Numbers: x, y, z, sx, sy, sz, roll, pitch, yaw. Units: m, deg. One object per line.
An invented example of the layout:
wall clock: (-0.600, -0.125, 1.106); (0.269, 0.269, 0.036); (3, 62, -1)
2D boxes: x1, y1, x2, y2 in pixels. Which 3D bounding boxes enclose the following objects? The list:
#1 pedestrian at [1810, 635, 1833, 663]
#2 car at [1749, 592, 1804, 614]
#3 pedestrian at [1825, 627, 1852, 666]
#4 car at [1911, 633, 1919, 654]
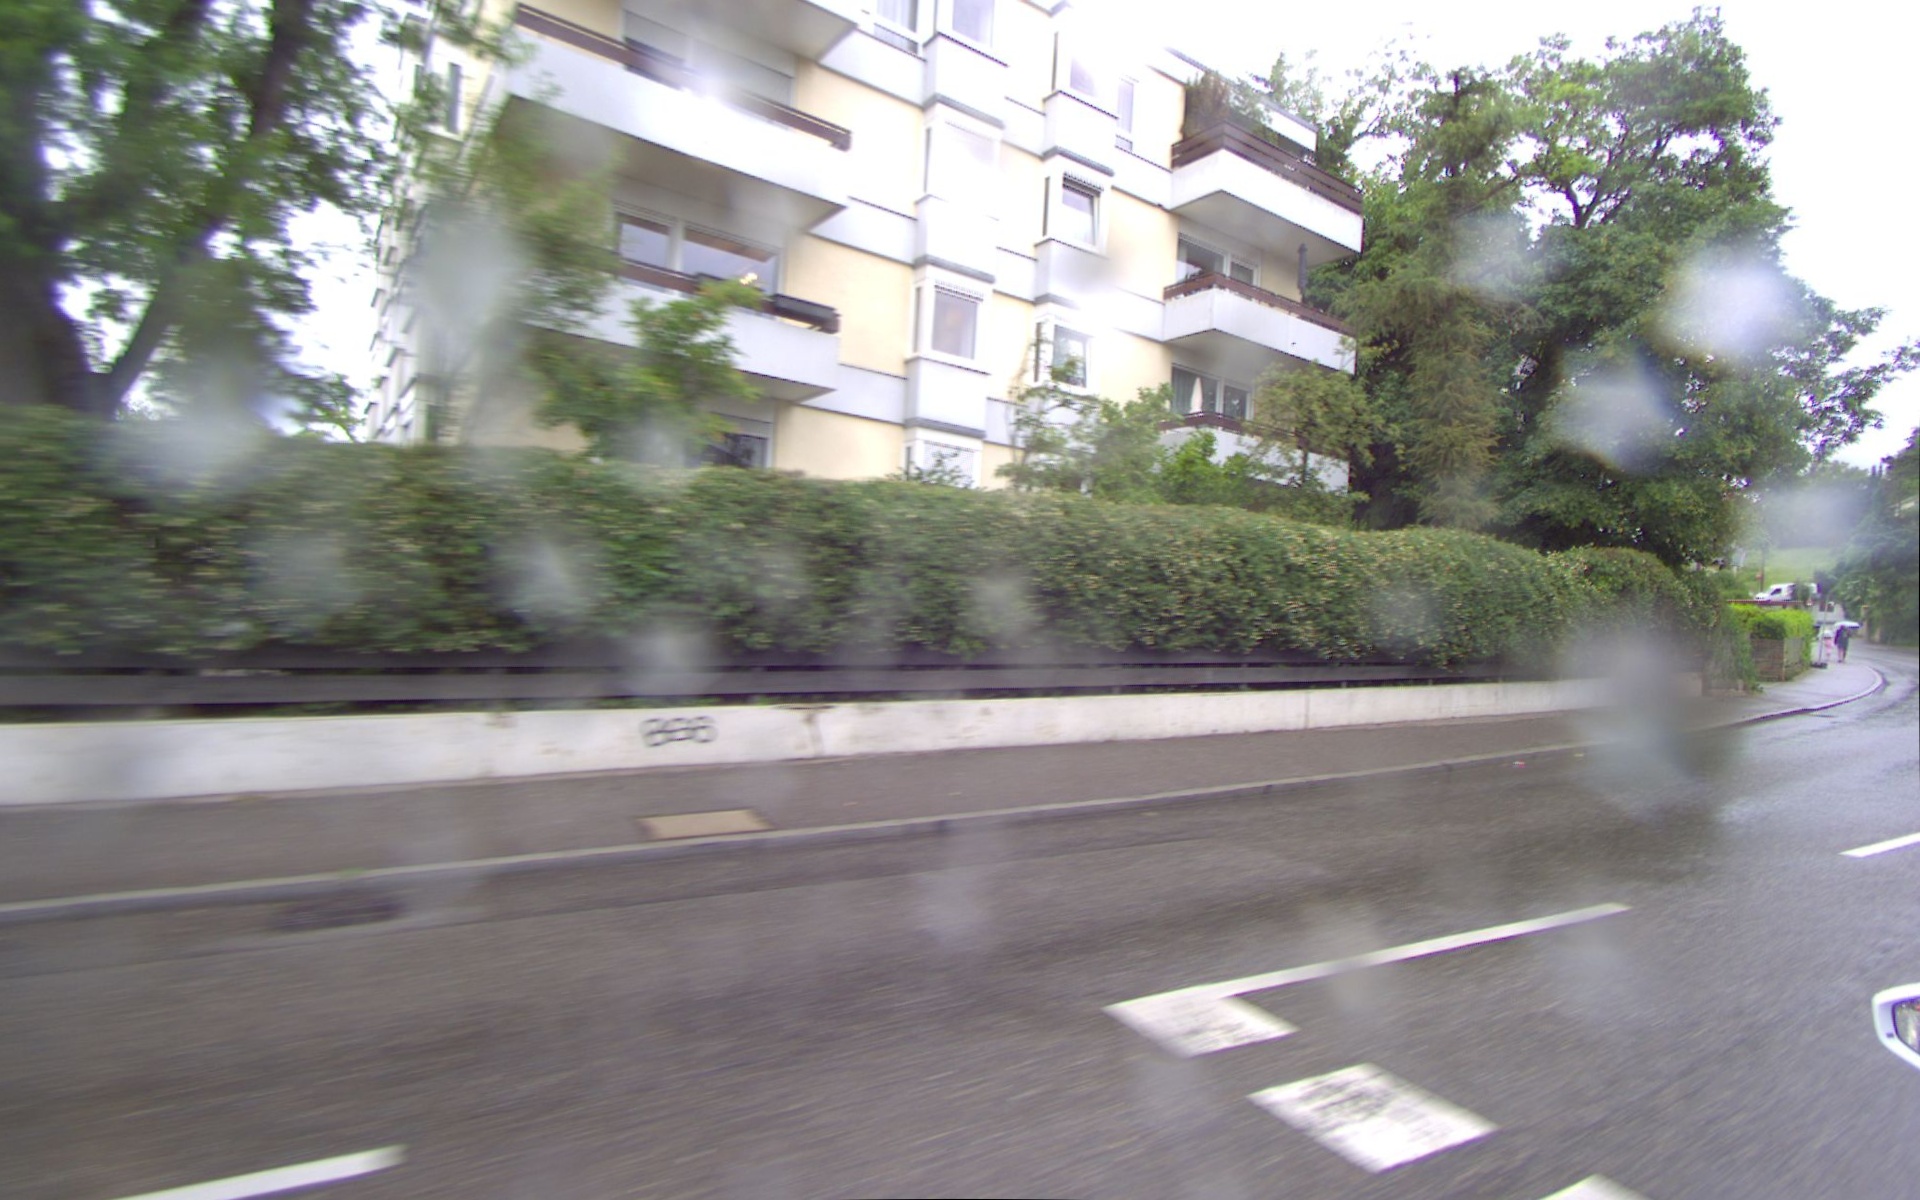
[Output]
pedestrian: (40.474, 2.296, 47.212); (0.747, 1.195, 1.034); (5, 2, 41)
car: (99.848, 0.384, 122.899); (4.869, 2.603, 1.901); (0, 0, 29)
pedestrian: (40.016, 2.104, 45.772); (0.747, 1.665, 1.034); (9, 4, 41)
car: (73.761, 3.283, 74.723); (4.085, 1.496, 1.900); (0, 0, 32)
